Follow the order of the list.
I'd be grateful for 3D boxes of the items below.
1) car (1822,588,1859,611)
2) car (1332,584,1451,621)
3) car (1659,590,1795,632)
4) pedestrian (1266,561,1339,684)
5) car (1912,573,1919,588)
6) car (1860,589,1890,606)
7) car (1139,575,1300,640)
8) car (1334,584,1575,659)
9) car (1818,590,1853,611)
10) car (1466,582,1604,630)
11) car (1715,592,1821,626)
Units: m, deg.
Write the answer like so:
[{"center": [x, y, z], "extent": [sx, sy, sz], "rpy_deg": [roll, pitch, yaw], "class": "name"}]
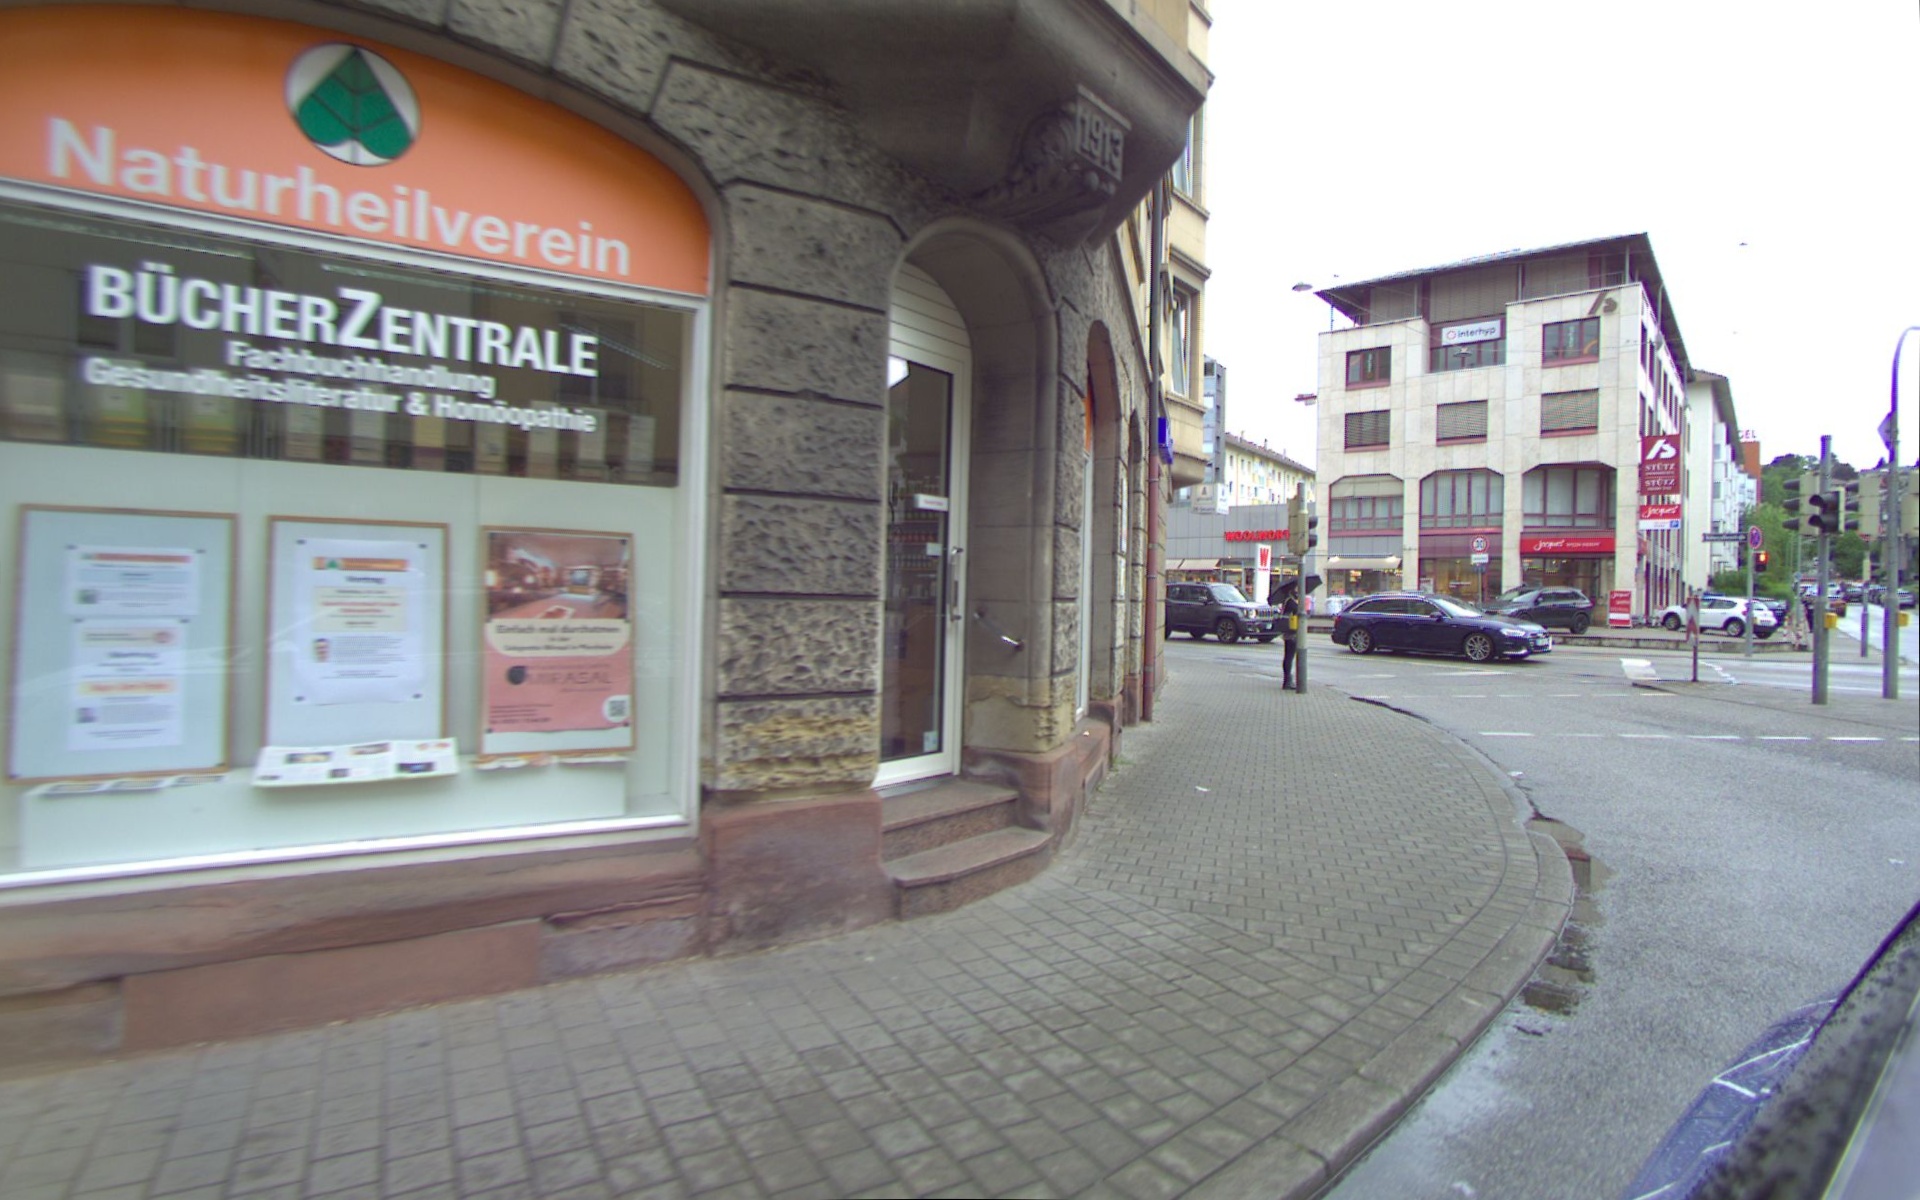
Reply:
[{"center": [65.438, -0.060, 75.236], "extent": [1.991, 1.604, 4.591], "rpy_deg": [1, 2, 40], "class": "car"}, {"center": [16.873, 0.075, 39.585], "extent": [4.112, 1.377, 1.937], "rpy_deg": [0, 1, -21], "class": "car"}, {"center": [30.245, 0.386, 40.049], "extent": [1.763, 1.513, 4.009], "rpy_deg": [0, 1, -17], "class": "car"}, {"center": [5.242, 0.318, 15.570], "extent": [0.940, 1.802, 1.180], "rpy_deg": [1, 1, 14], "class": "pedestrian"}, {"center": [107.728, -2.144, 112.874], "extent": [1.991, 1.604, 4.591], "rpy_deg": [1, 2, 40], "class": "car"}, {"center": [89.666, -0.271, 99.177], "extent": [1.991, 1.604, 4.591], "rpy_deg": [1, 2, 40], "class": "car"}, {"center": [7.286, 0.151, 28.775], "extent": [1.896, 1.681, 4.200], "rpy_deg": [0, 1, -35], "class": "car"}, {"center": [10.912, 0.394, 22.666], "extent": [1.895, 1.434, 4.533], "rpy_deg": [0, 1, -32], "class": "car"}, {"center": [68.869, 0.028, 79.635], "extent": [1.991, 1.604, 4.591], "rpy_deg": [1, 2, 40], "class": "car"}, {"center": [19.985, 0.188, 35.204], "extent": [4.168, 1.569, 1.937], "rpy_deg": [0, 1, -20], "class": "car"}, {"center": [39.949, 0.396, 50.079], "extent": [3.985, 1.527, 1.970], "rpy_deg": [2, 2, 42], "class": "car"}]
